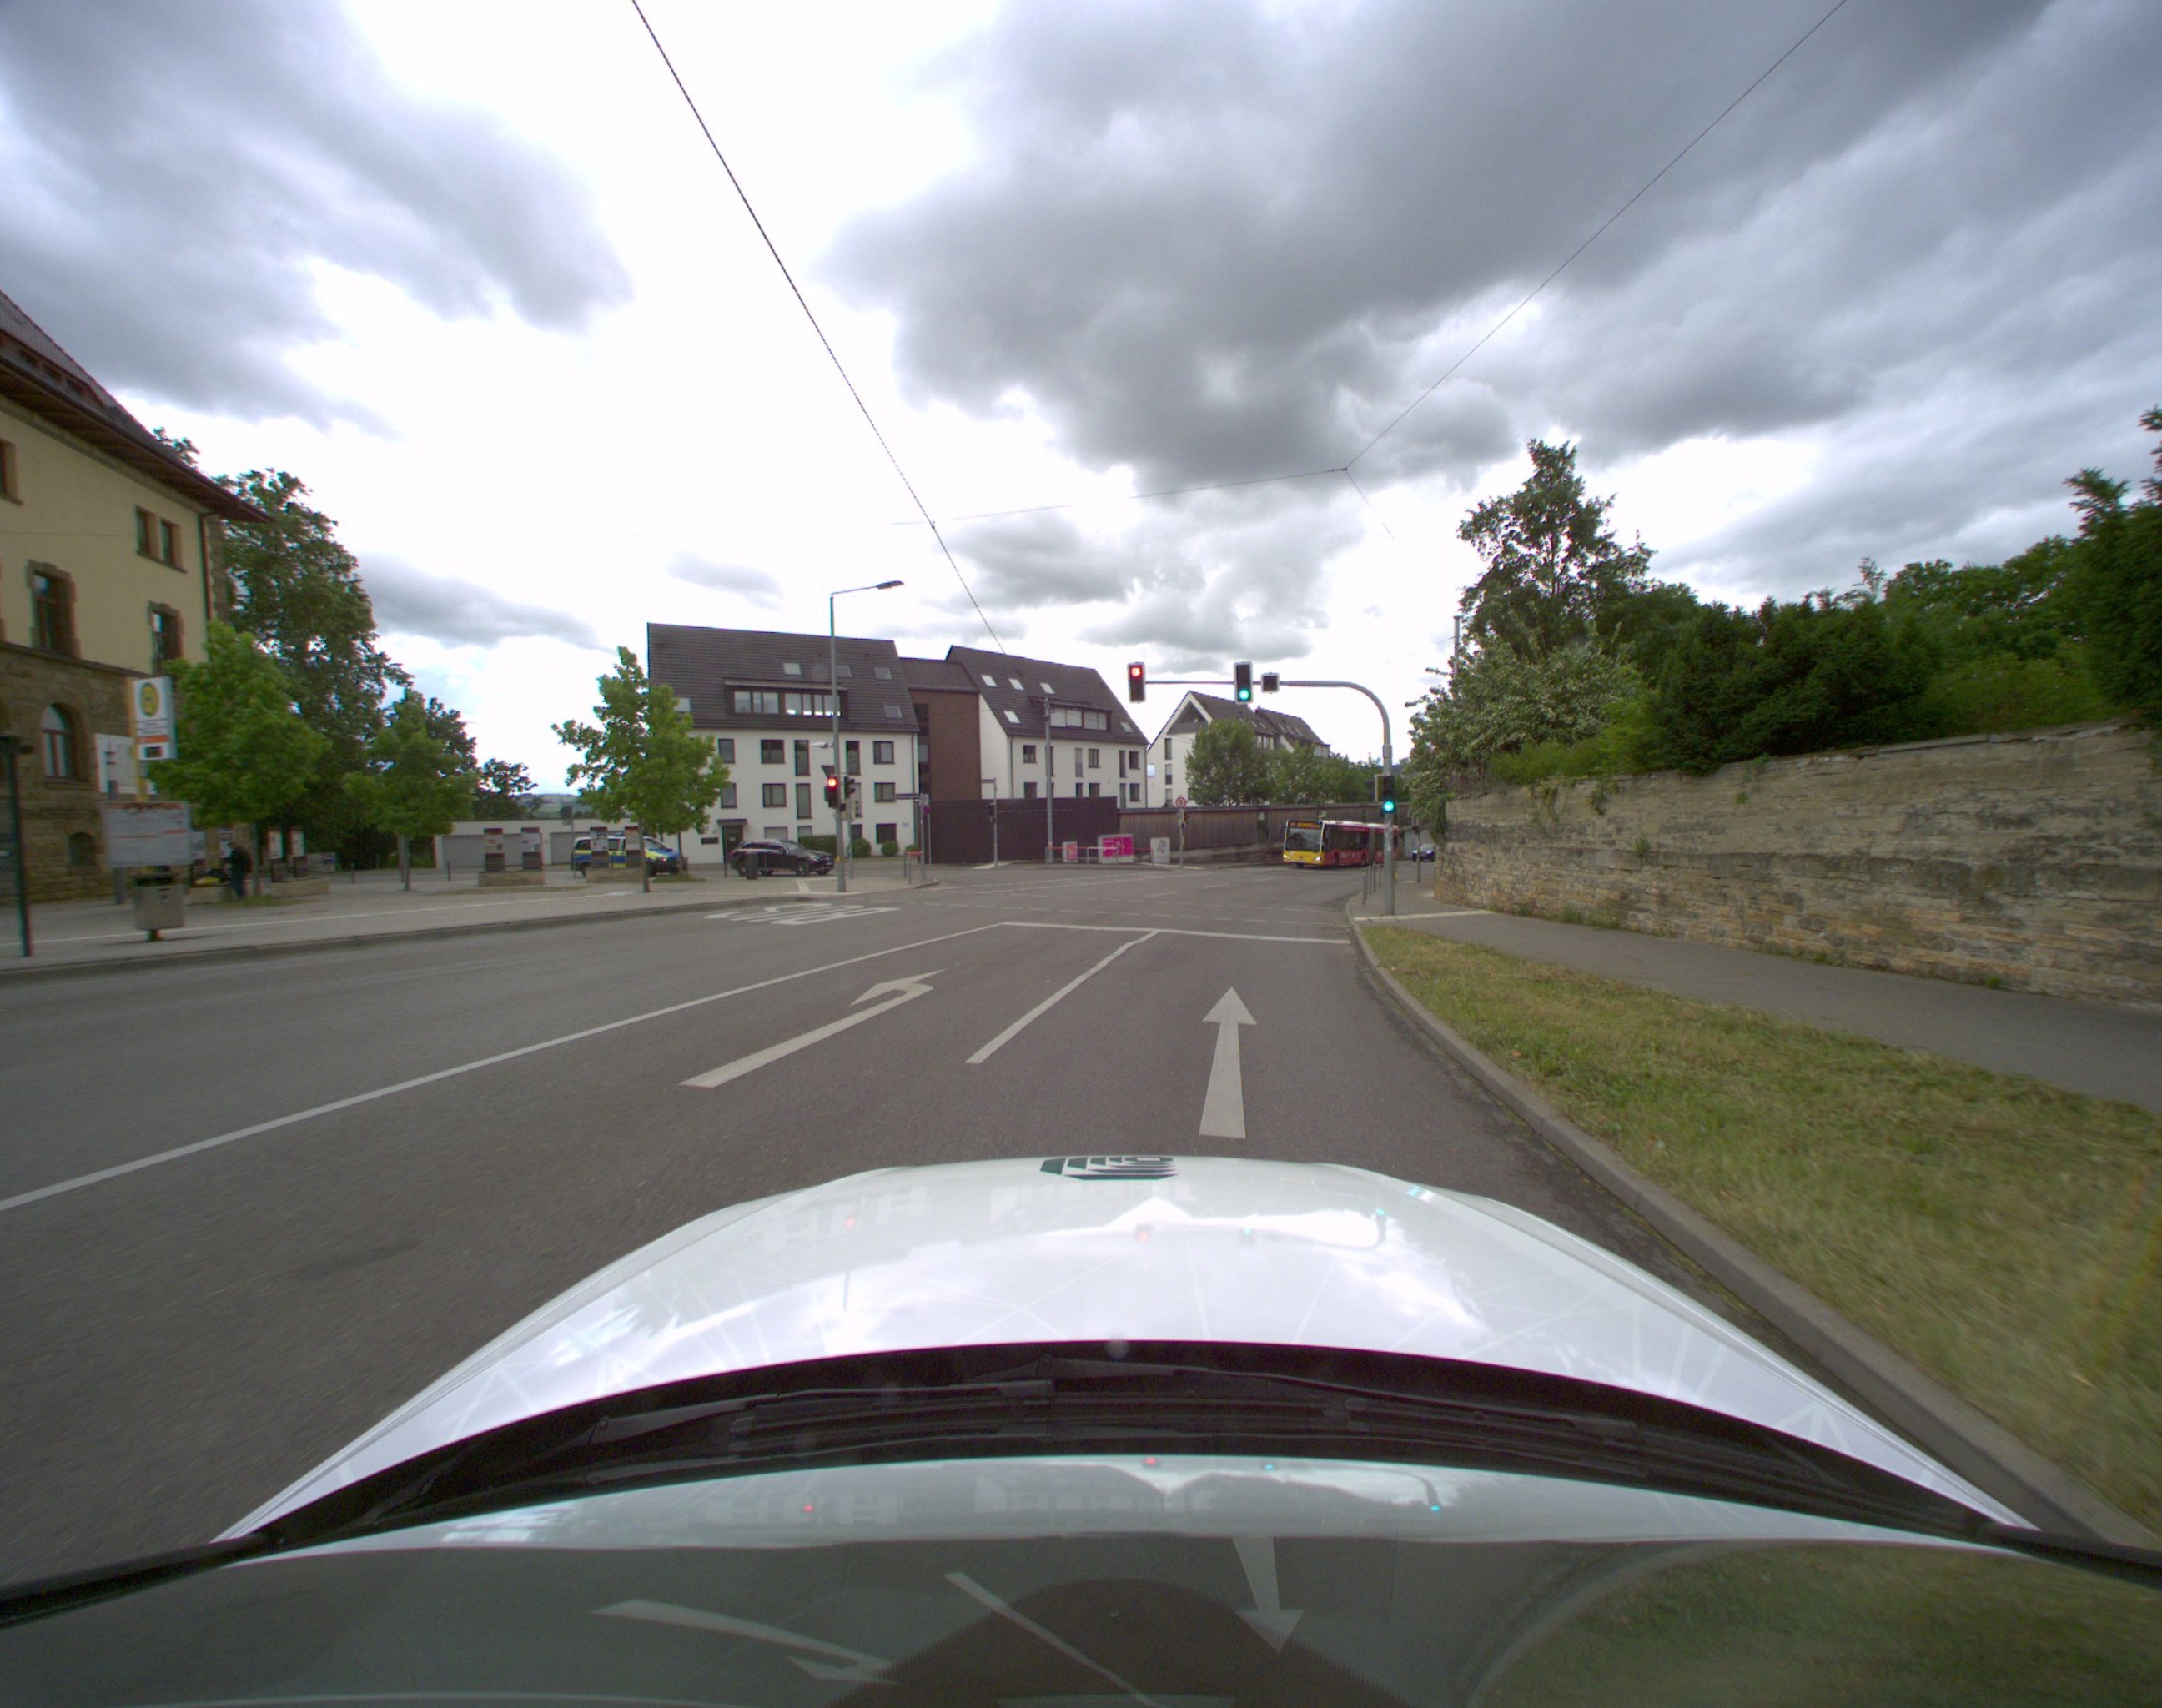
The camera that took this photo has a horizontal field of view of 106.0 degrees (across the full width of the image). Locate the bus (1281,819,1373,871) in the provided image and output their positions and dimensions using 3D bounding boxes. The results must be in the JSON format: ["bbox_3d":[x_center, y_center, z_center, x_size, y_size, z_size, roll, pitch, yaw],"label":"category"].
[{"bbox_3d":[16.359,-0.590,53.590,2.632,3.121,10.083,3,2,35],"label":"bus"}]

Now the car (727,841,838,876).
[{"bbox_3d":[-13.375,0.175,36.624,4.231,1.513,2.007,0,0,12],"label":"car"}]

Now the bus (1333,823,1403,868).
[{"bbox_3d":[21.671,-0.633,61.155,2.632,3.121,8.345,3,2,35],"label":"bus"}]

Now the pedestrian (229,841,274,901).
[{"bbox_3d":[-22.076,0.445,21.674,0.537,1.577,0.652,0,0,-5],"label":"pedestrian"}]

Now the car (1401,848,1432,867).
[{"bbox_3d":[31.377,0.304,76.076,1.903,1.630,4.551,3,1,33],"label":"car"}]

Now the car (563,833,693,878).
[{"bbox_3d":[-20.997,0.080,37.858,5.047,2.013,2.004,0,0,7],"label":"car"}]
